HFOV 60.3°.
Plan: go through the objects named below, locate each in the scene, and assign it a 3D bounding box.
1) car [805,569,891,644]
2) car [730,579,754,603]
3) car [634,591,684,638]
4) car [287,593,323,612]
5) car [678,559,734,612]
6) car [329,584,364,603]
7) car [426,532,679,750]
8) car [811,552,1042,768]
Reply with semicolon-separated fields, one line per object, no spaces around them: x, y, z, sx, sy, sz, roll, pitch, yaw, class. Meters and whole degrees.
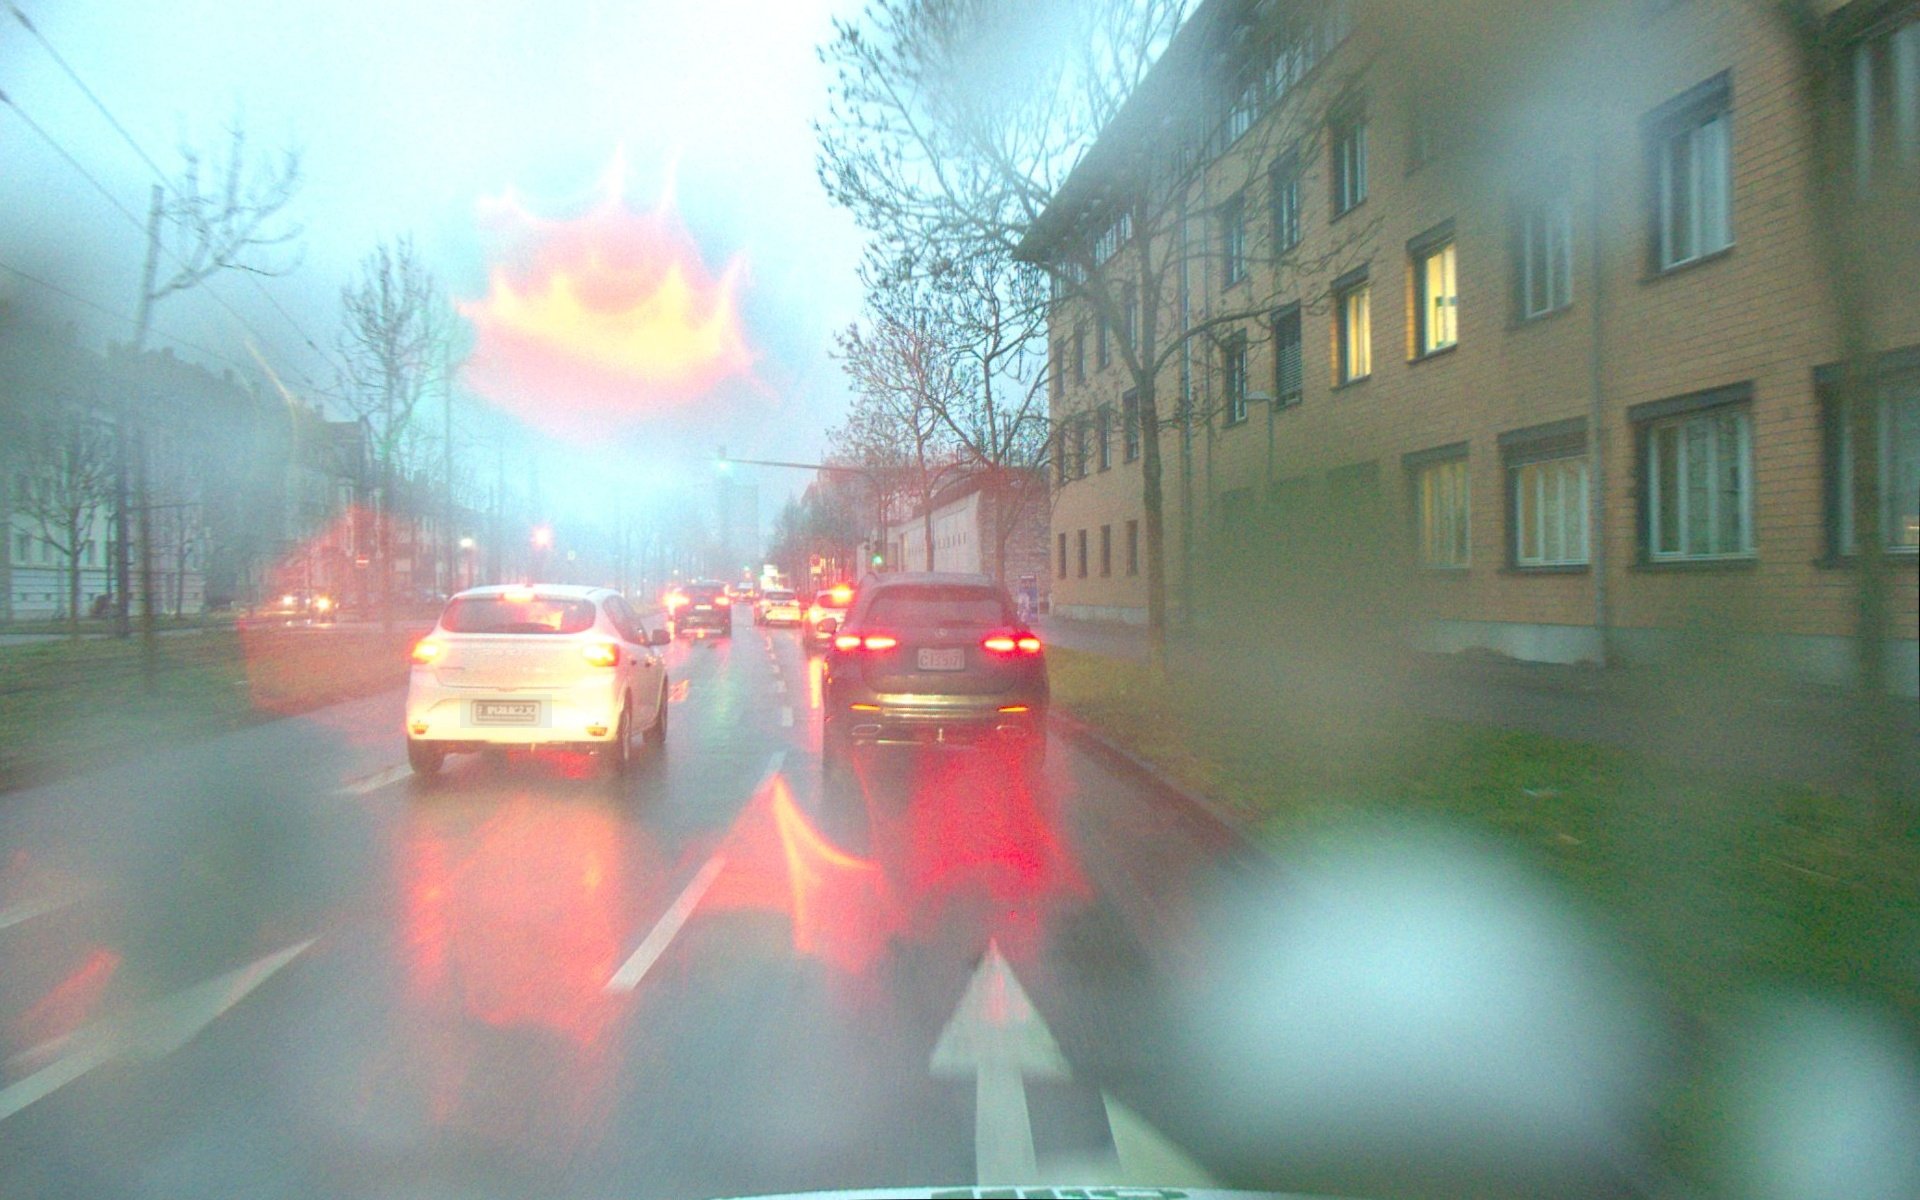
-2.870;0.148;41.610;1.955;1.774;3.994;-1;0;-7;car
-19.027;-0.788;144.524;1.955;2.048;3.995;-2;1;-6;car
-14.022;0.646;77.208;1.955;2.049;3.995;-1;1;-6;car
-50.415;0.216;127.420;1.743;1.377;3.550;-1;1;-8;car
-8.227;-0.466;53.703;1.640;1.628;4.047;0;0;-7;car
-47.024;-0.514;126.840;1.743;1.377;3.550;-1;1;-8;car
-3.402;0.306;14.468;1.640;1.628;4.047;0;0;-7;car
-0.430;0.446;14.588;1.640;1.628;4.047;0;0;-7;car
